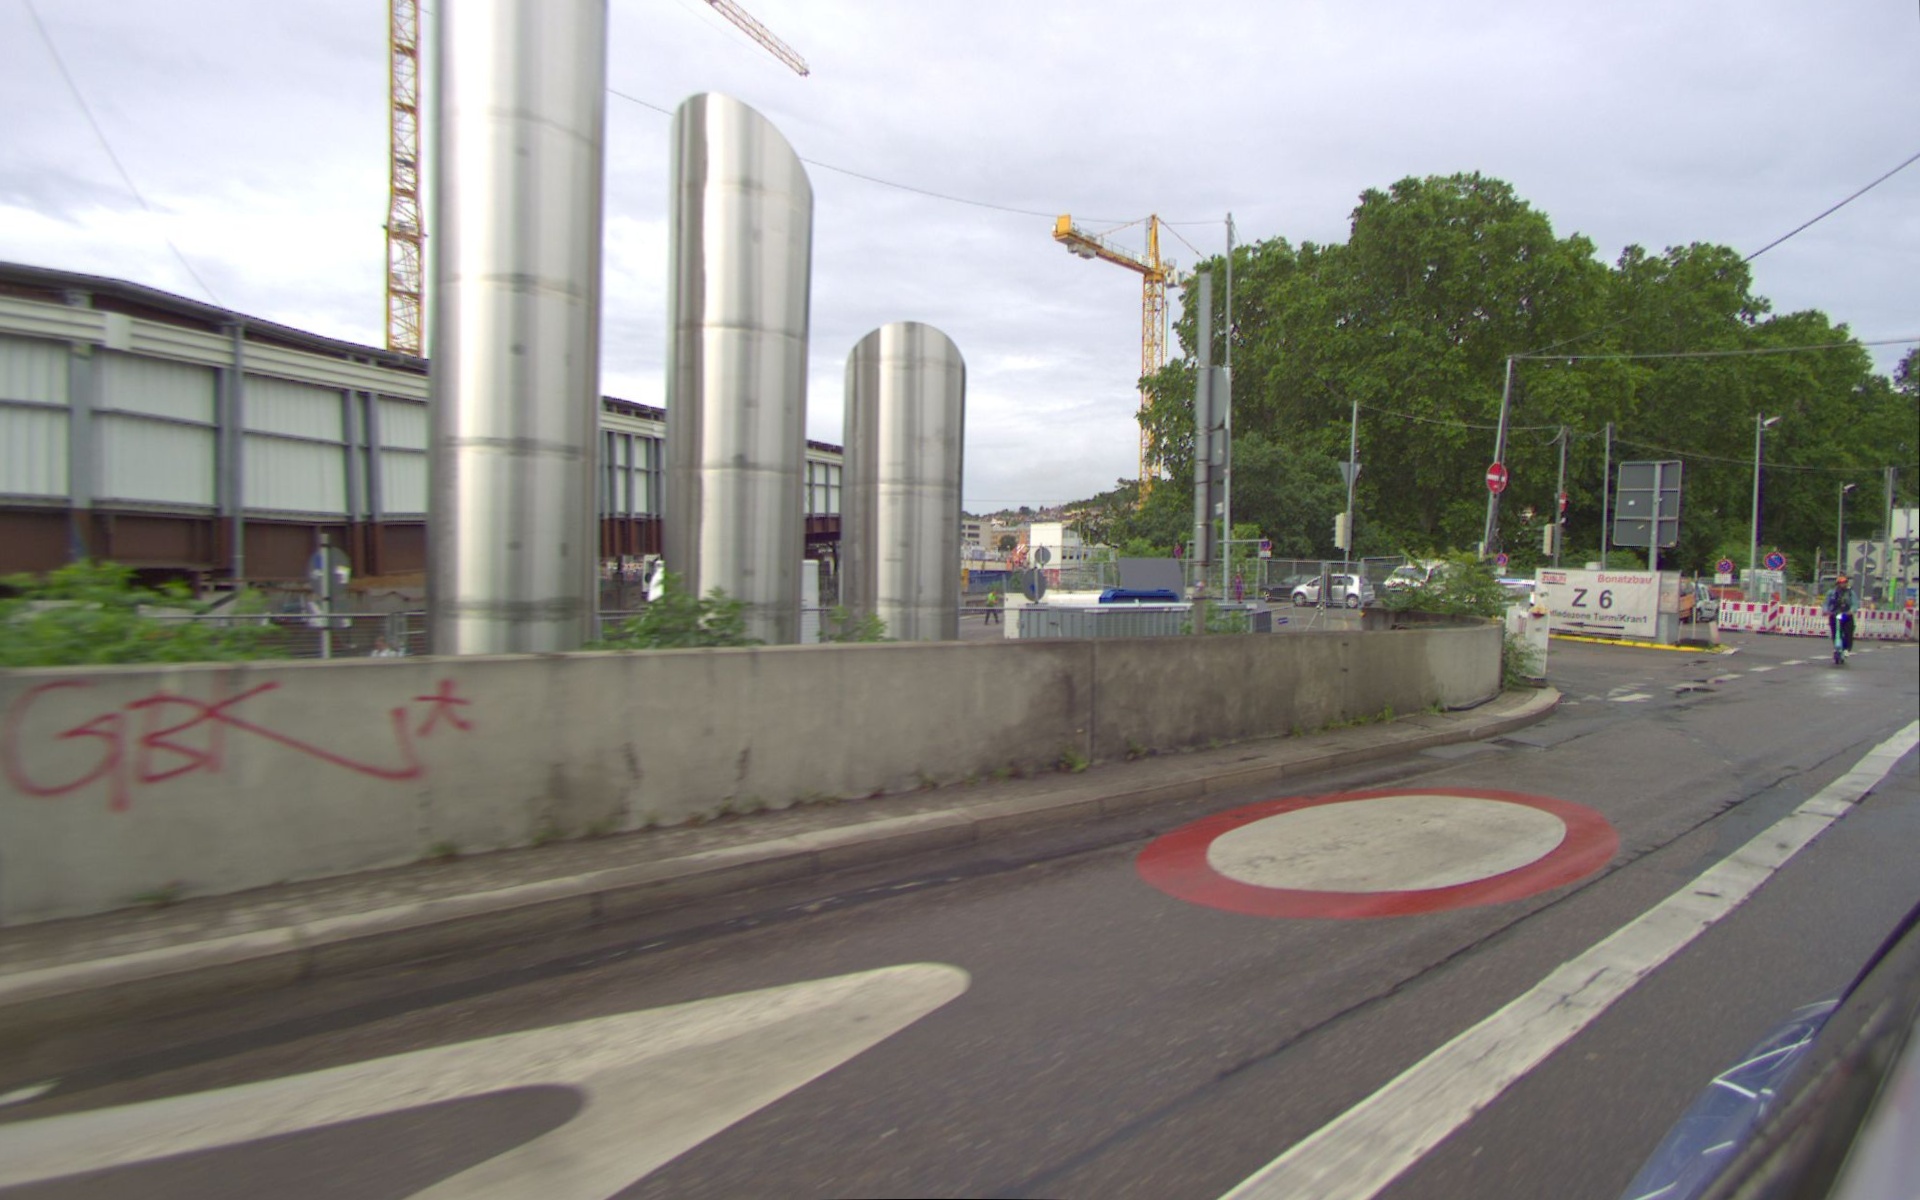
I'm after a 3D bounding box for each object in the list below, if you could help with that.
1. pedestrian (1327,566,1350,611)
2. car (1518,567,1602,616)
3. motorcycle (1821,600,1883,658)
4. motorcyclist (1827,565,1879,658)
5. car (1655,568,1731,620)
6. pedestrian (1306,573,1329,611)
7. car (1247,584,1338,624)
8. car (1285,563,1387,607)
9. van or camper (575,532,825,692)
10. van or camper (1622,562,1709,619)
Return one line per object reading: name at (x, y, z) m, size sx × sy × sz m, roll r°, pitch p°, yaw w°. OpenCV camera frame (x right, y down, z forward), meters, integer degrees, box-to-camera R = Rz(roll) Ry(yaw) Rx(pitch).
pedestrian at (16.131, -0.488, 43.131) m, size 0.650 × 1.894 × 0.652 m, roll 4°, pitch 1°, yaw 42°
car at (23.336, -0.302, 39.314) m, size 1.993 × 1.657 × 4.126 m, roll 5°, pitch 1°, yaw 41°
motorcycle at (20.539, 0.672, 23.287) m, size 2.123 × 1.244 × 0.729 m, roll 3°, pitch 1°, yaw -41°
motorcyclist at (20.509, 0.257, 23.235) m, size 0.577 × 2.061 × 0.726 m, roll 3°, pitch 1°, yaw -41°
car at (33.348, -0.271, 46.007) m, size 4.119 × 2.092 × 1.996 m, roll 3°, pitch 1°, yaw -43°
pedestrian at (15.494, -0.333, 43.836) m, size 0.650 × 1.594 × 0.652 m, roll 4°, pitch 1°, yaw 42°
car at (16.416, 0.199, 50.052) m, size 3.717 × 1.657 × 1.969 m, roll 5°, pitch 1°, yaw 42°
car at (16.581, -0.674, 44.699) m, size 3.717 × 1.657 × 1.969 m, roll 5°, pitch 1°, yaw 42°
van or camper at (-4.649, 0.153, 19.430) m, size 2.347 × 2.431 × 6.048 m, roll 4°, pitch 1°, yaw 9°
van or camper at (29.351, -0.378, 42.042) m, size 2.119 × 2.054 × 4.931 m, roll 5°, pitch 1°, yaw 44°
